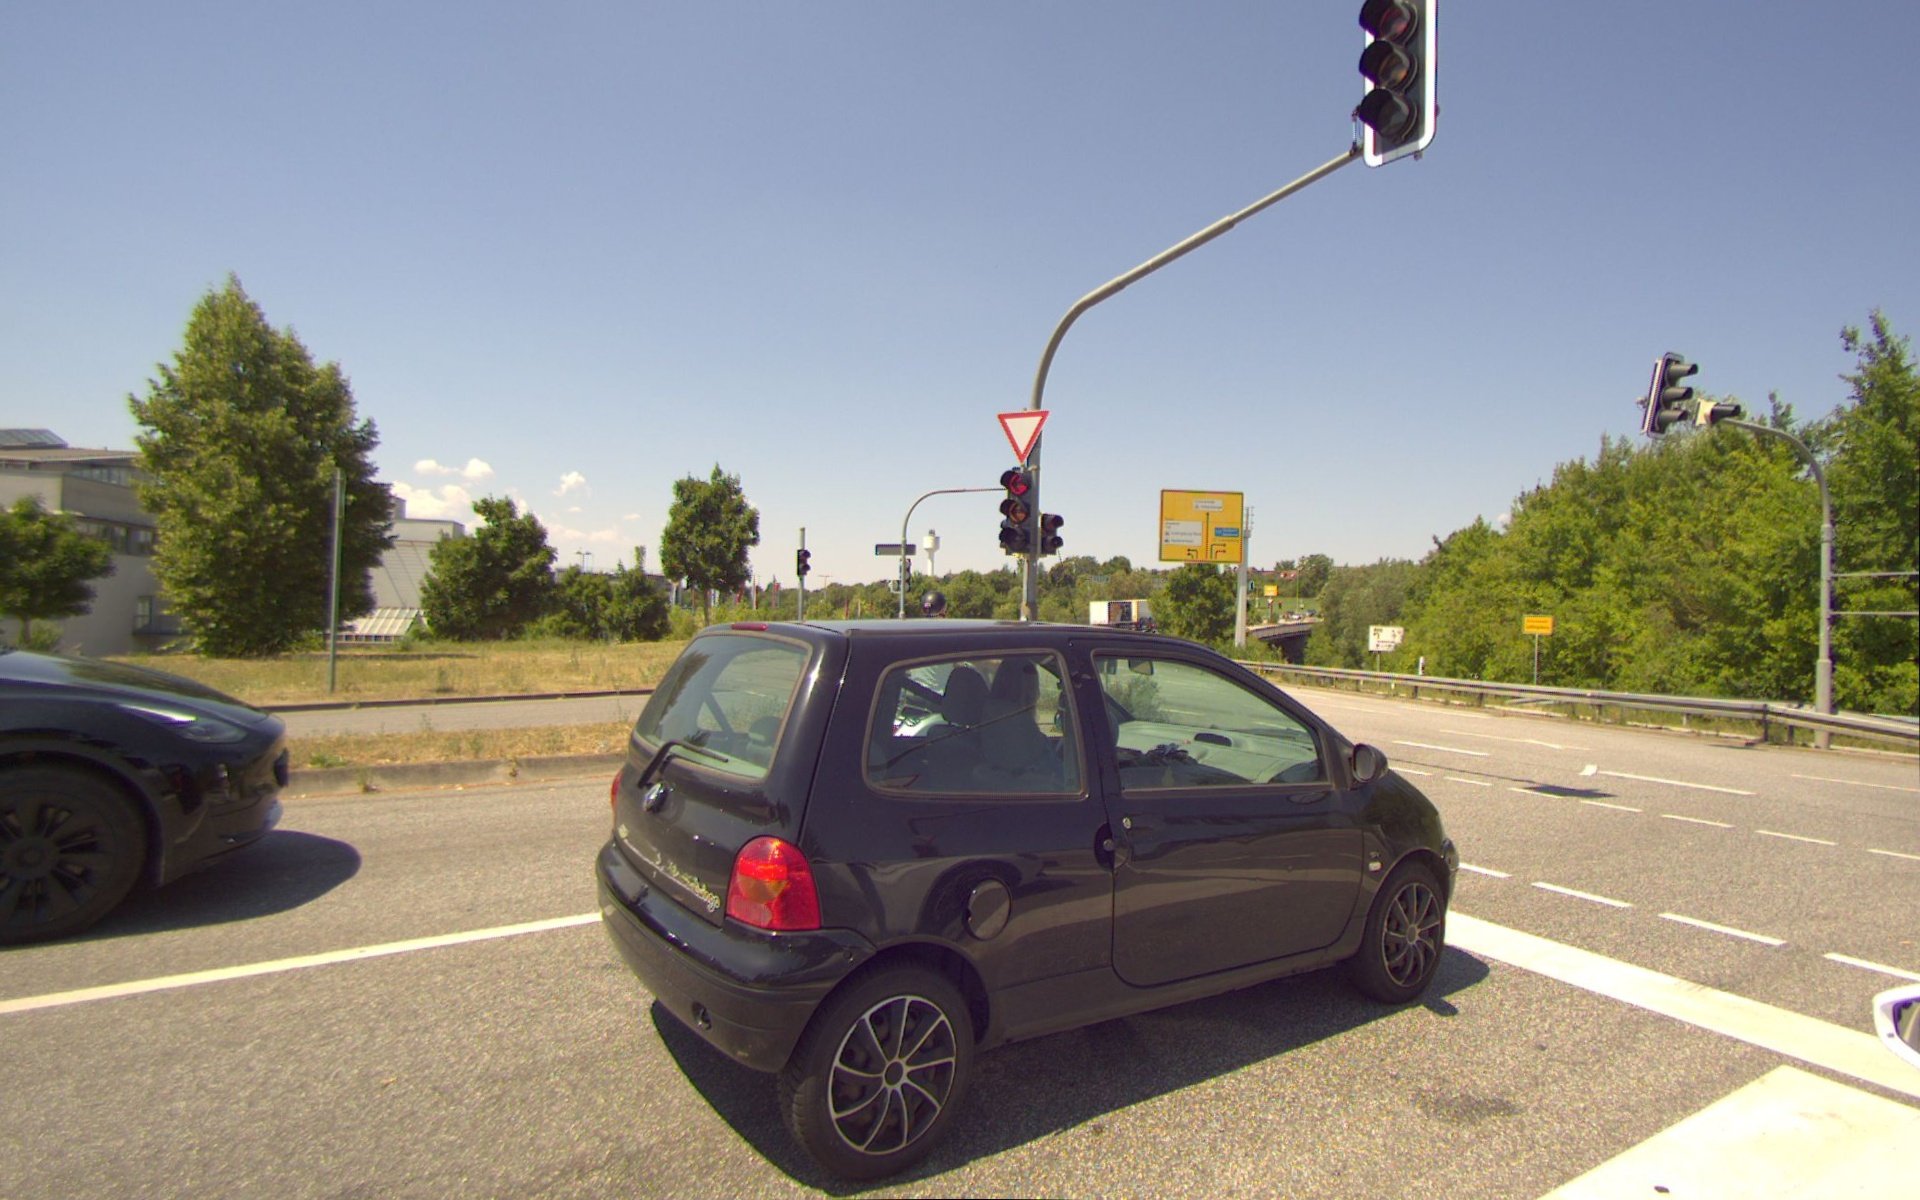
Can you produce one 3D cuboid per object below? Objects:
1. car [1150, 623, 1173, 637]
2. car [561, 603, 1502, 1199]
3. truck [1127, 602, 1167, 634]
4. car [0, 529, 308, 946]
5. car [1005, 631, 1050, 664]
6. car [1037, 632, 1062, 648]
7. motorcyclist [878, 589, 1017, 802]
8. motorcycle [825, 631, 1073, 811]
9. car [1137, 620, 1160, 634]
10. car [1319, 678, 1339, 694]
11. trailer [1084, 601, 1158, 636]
[{"bbox_3d":[25.471,3.730,126.910,1.848,1.644,3.995,1,0,27],"label":"car"},{"bbox_3d":[0.392,0.773,3.811,3.267,1.426,1.609,2,-1,-34],"label":"car"},{"bbox_3d":[25.926,2.424,139.038,3.189,4.305,6.216,1,1,35],"label":"truck"},{"bbox_3d":[-5.266,0.493,3.932,4.462,1.622,1.862,2,0,-36],"label":"car"},{"bbox_3d":[3.327,2.324,50.084,1.616,1.413,3.989,5,-2,-4],"label":"car"},{"bbox_3d":[9.407,4.199,105.364,1.775,1.452,3.931,4,-2,17],"label":"car"},{"bbox_3d":[-0.096,0.720,7.885,0.838,1.560,0.607,3,0,-34],"label":"motorcyclist"},{"bbox_3d":[-0.048,0.908,7.908,1.921,1.255,0.572,3,-1,-35],"label":"motorcycle"},{"bbox_3d":[24.841,3.524,132.327,1.851,1.755,3.992,1,0,30],"label":"car"},{"bbox_3d":[39.317,9.134,107.008,1.776,1.452,4.415,4,-2,18],"label":"car"},{"bbox_3d":[21.516,2.343,132.836,3.188,4.305,15.356,1,1,35],"label":"trailer"}]
